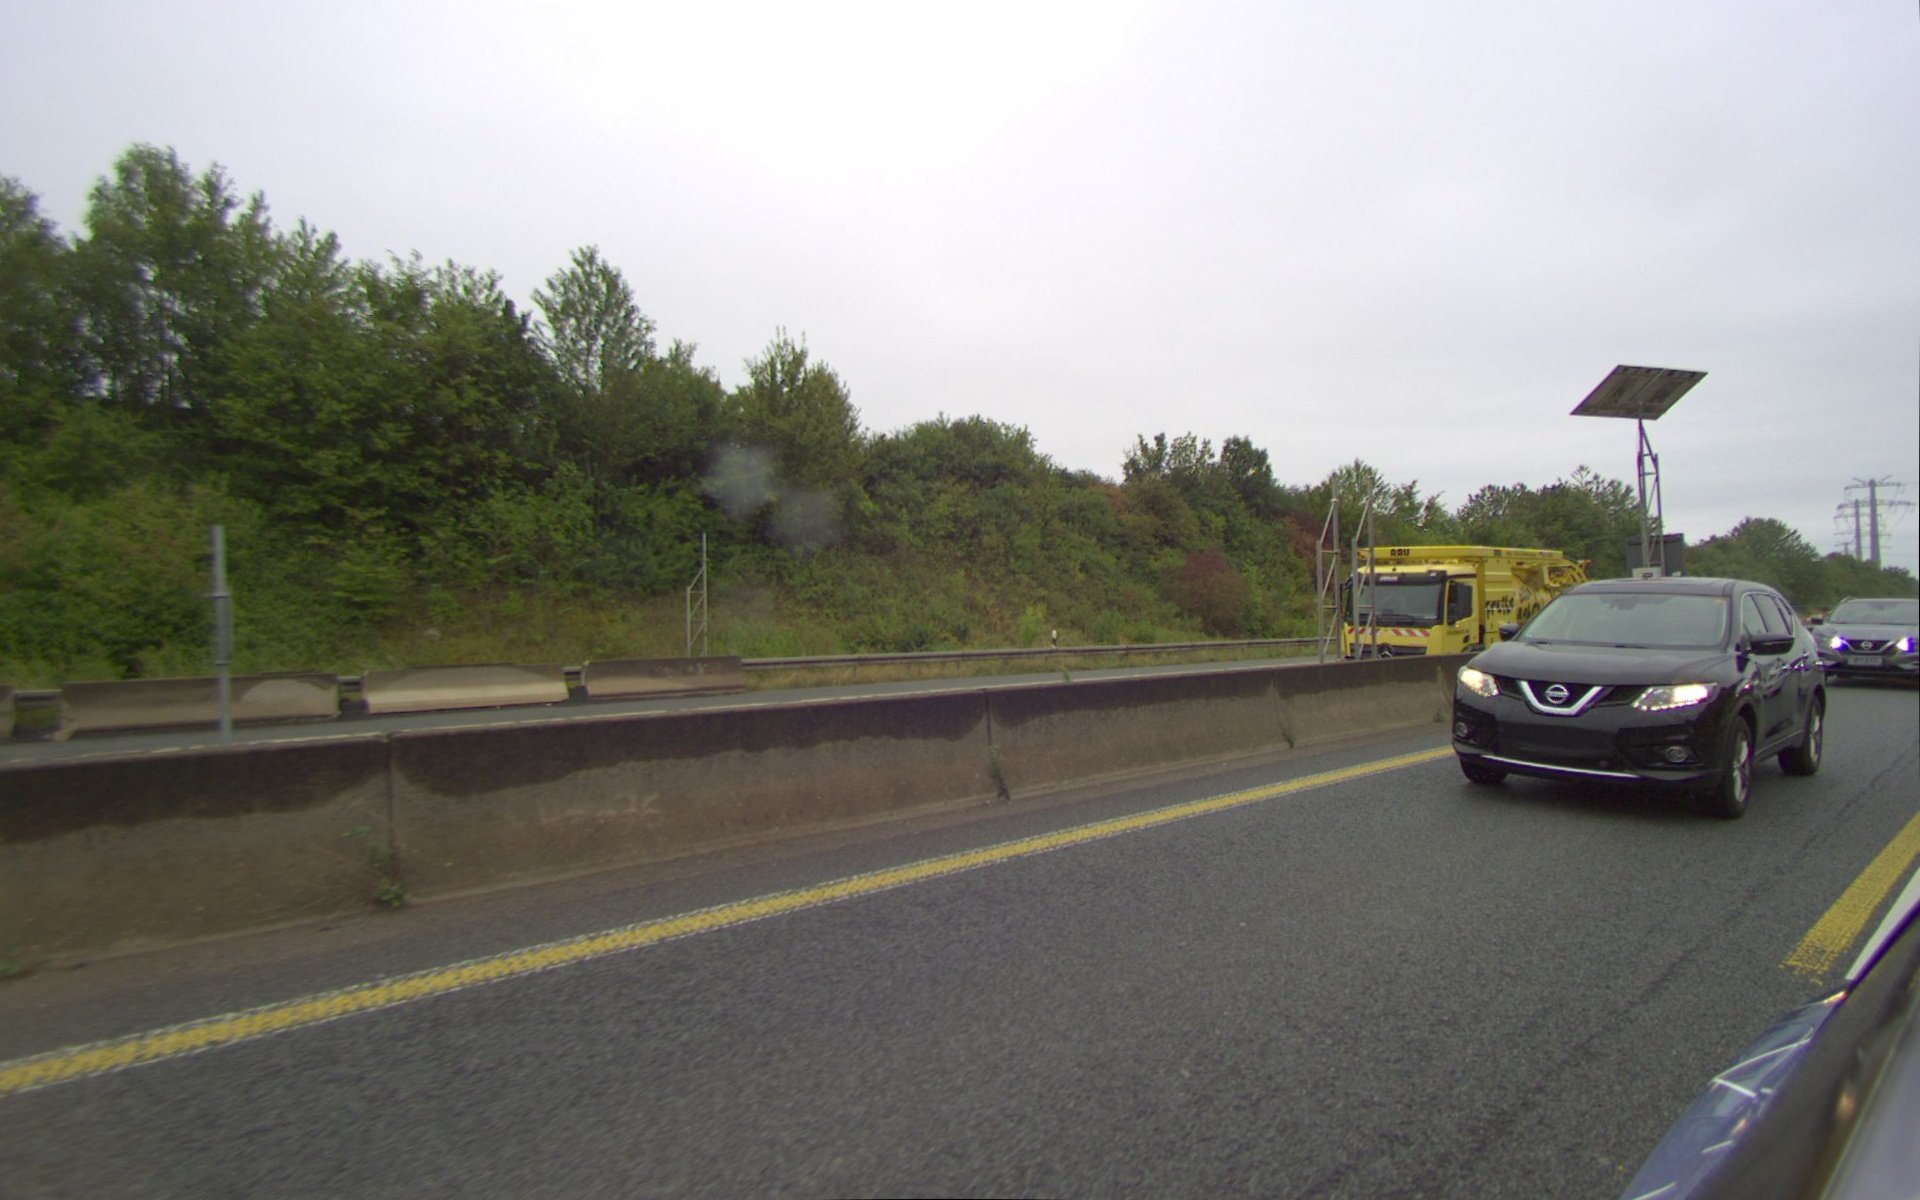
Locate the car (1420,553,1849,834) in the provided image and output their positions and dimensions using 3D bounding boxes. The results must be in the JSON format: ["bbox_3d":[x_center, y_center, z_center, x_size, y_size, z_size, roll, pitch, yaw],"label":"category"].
[{"bbox_3d":[5.734,0.534,8.346,4.561,1.696,1.892,-1,1,-42],"label":"car"}]

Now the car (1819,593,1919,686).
[{"bbox_3d":[17.057,0.642,18.320,4.053,1.509,1.782,-1,1,-42],"label":"car"}]

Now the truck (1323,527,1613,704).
[{"bbox_3d":[12.306,0.253,23.934,9.405,3.467,2.618,-1,1,-40],"label":"truck"}]

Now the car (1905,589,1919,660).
[{"bbox_3d":[23.909,0.553,24.052,4.053,1.618,1.782,-1,1,-42],"label":"car"}]
